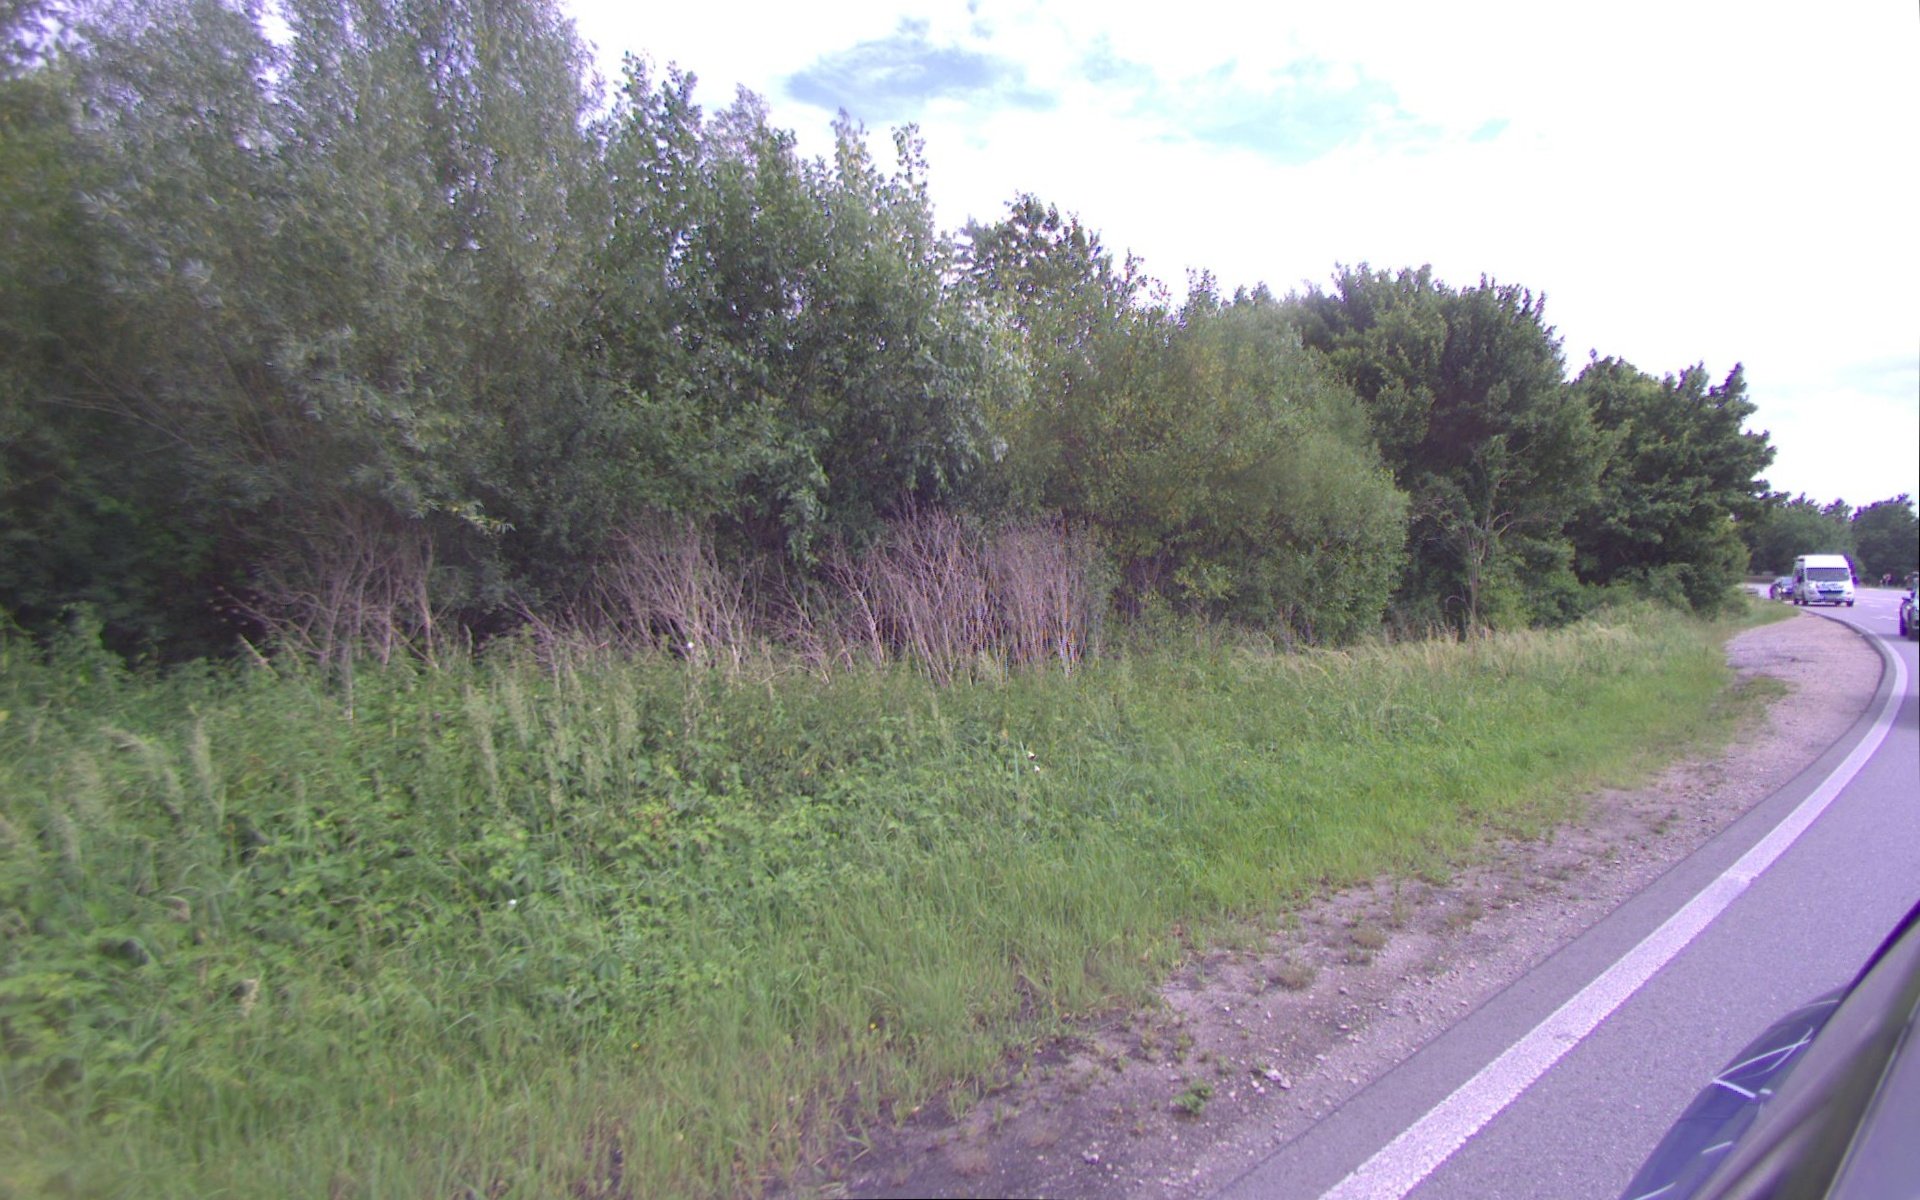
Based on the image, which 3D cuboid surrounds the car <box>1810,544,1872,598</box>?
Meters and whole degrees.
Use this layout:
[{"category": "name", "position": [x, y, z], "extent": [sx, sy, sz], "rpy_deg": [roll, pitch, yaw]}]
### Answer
[{"category": "car", "position": [46.677, -1.486, 53.713], "extent": [2.209, 2.704, 5.166], "rpy_deg": [-2, -1, 39]}]

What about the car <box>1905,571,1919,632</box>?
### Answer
[{"category": "car", "position": [27.397, 0.025, 27.586], "extent": [2.011, 1.633, 4.222], "rpy_deg": [0, 1, 38]}]
